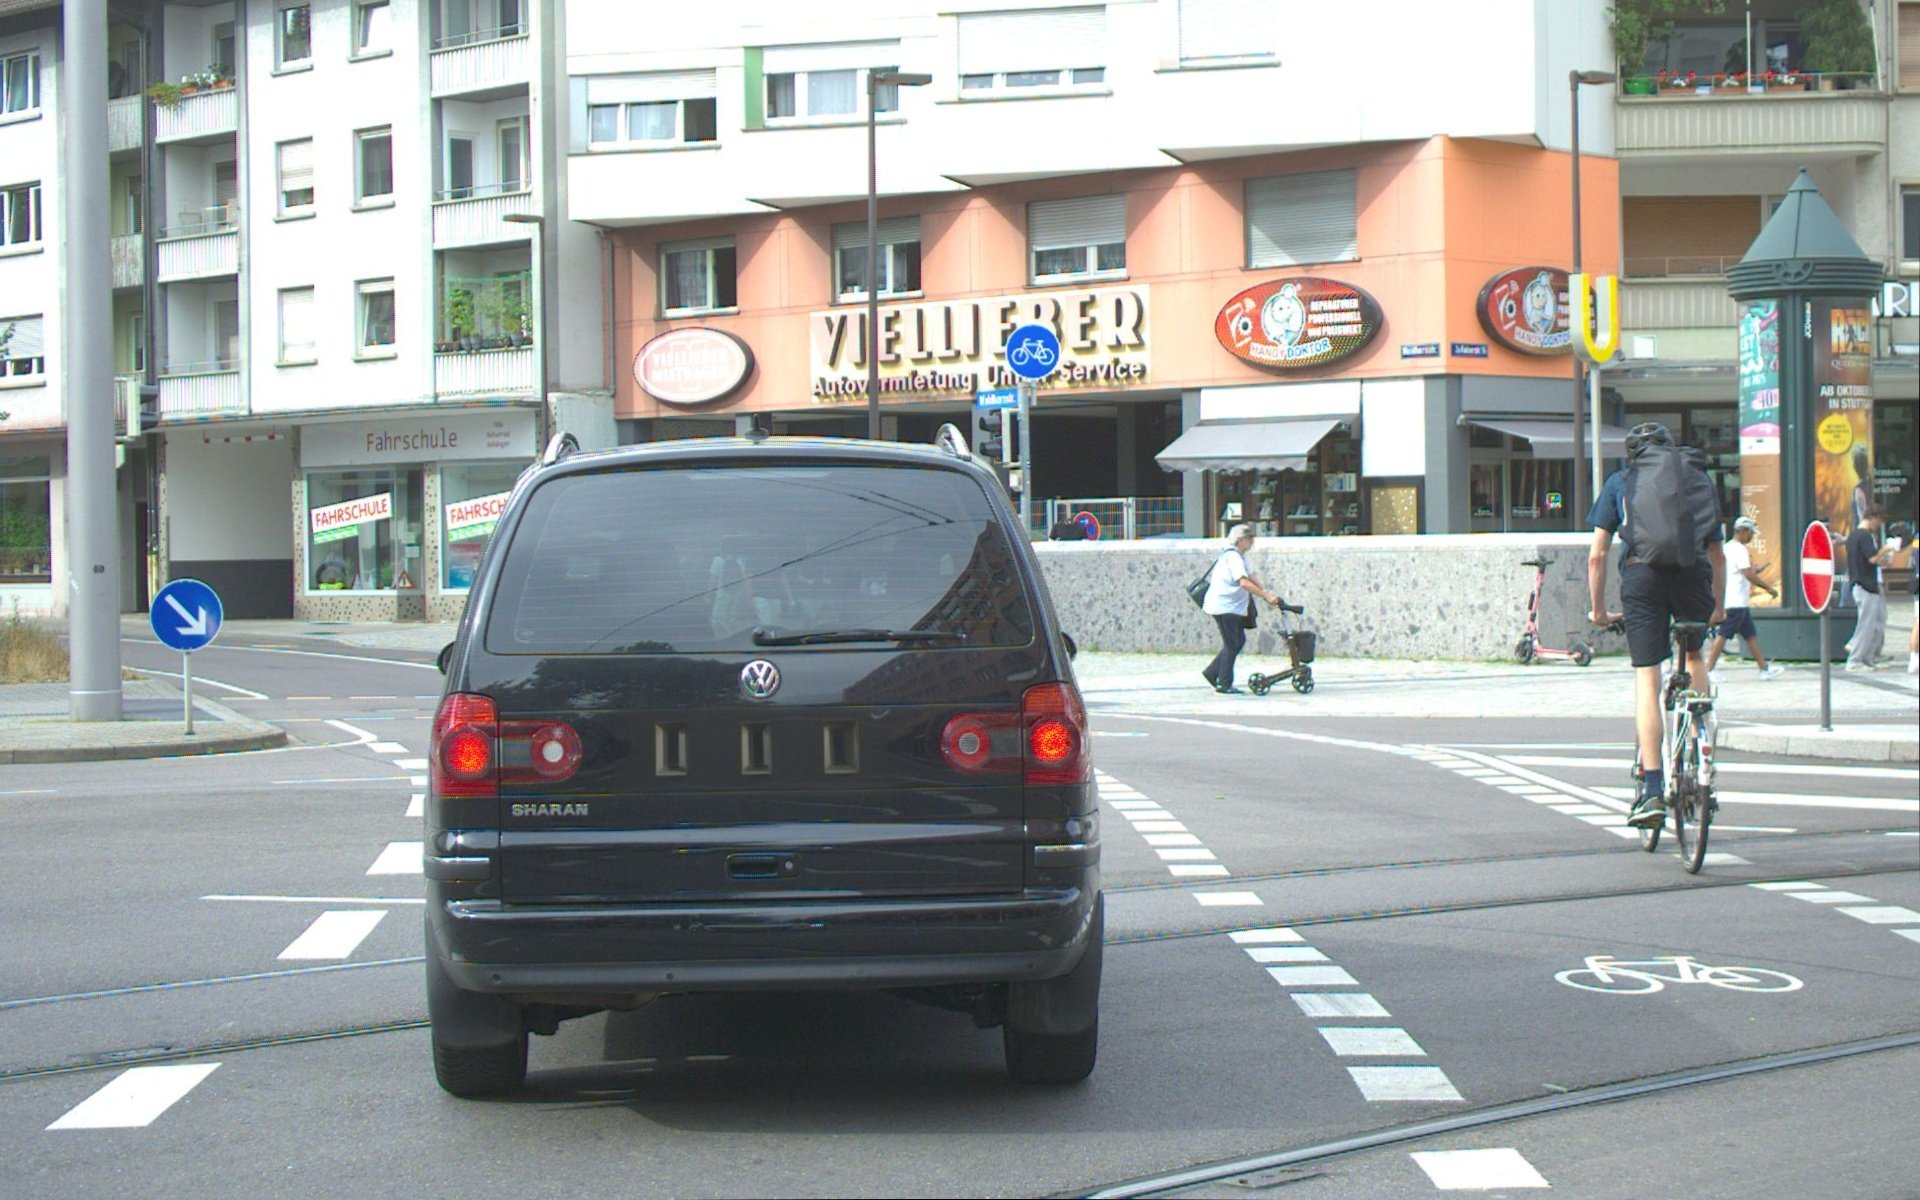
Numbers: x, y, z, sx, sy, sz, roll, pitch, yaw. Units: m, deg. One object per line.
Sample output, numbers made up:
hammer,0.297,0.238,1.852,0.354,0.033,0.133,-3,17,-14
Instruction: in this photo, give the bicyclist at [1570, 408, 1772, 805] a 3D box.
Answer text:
bicyclist,3.146,0.018,15.270,0.697,1.703,0.908,-1,1,0

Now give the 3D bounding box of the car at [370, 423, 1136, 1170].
car,-0.651,0.411,10.054,1.812,1.760,3.739,0,2,-5

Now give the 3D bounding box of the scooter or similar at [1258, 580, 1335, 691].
scooter or similar,3.491,0.365,35.640,0.700,1.106,0.608,-1,2,12

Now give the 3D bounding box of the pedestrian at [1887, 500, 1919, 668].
pedestrian,10.022,-0.171,35.822,0.593,1.731,0.415,-1,1,-1

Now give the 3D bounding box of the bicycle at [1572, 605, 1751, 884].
bicycle,3.100,0.606,15.315,0.390,1.118,1.920,-1,1,0

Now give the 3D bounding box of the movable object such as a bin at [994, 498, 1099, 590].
movable object such as a bin,1.385,-0.898,55.162,1.223,1.455,1.146,0,2,43

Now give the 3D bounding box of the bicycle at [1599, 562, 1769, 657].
bicycle,8.290,0.094,39.282,2.442,1.010,0.544,-2,2,-42

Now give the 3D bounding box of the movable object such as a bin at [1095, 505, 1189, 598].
movable object such as a bin,3.016,-0.802,56.952,1.167,1.510,1.003,0,2,43

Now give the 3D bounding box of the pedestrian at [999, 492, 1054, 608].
pedestrian,0.973,-0.731,50.429,0.473,1.667,0.589,-5,4,-45

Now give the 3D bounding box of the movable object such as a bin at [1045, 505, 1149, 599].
movable object such as a bin,2.236,-0.783,56.087,1.196,1.510,1.194,0,2,43

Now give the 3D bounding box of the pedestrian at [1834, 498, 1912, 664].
pedestrian,9.630,-0.201,36.252,0.699,1.731,0.415,-1,1,-1

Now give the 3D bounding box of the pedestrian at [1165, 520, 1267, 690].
pedestrian,2.671,0.046,35.803,0.935,1.734,0.685,-1,2,13

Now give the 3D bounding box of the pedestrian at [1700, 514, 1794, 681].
pedestrian,7.997,-0.035,34.959,0.803,1.674,0.627,-1,1,1

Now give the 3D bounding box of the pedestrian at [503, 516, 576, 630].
pedestrian,-6.990,-0.448,57.126,0.657,1.845,0.971,-5,3,-42

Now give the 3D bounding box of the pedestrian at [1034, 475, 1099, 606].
pedestrian,1.579,-0.879,50.904,0.672,1.896,0.589,-5,4,-45

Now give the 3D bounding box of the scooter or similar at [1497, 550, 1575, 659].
scooter or similar,6.492,0.042,38.770,0.285,1.208,1.126,-1,1,-24
